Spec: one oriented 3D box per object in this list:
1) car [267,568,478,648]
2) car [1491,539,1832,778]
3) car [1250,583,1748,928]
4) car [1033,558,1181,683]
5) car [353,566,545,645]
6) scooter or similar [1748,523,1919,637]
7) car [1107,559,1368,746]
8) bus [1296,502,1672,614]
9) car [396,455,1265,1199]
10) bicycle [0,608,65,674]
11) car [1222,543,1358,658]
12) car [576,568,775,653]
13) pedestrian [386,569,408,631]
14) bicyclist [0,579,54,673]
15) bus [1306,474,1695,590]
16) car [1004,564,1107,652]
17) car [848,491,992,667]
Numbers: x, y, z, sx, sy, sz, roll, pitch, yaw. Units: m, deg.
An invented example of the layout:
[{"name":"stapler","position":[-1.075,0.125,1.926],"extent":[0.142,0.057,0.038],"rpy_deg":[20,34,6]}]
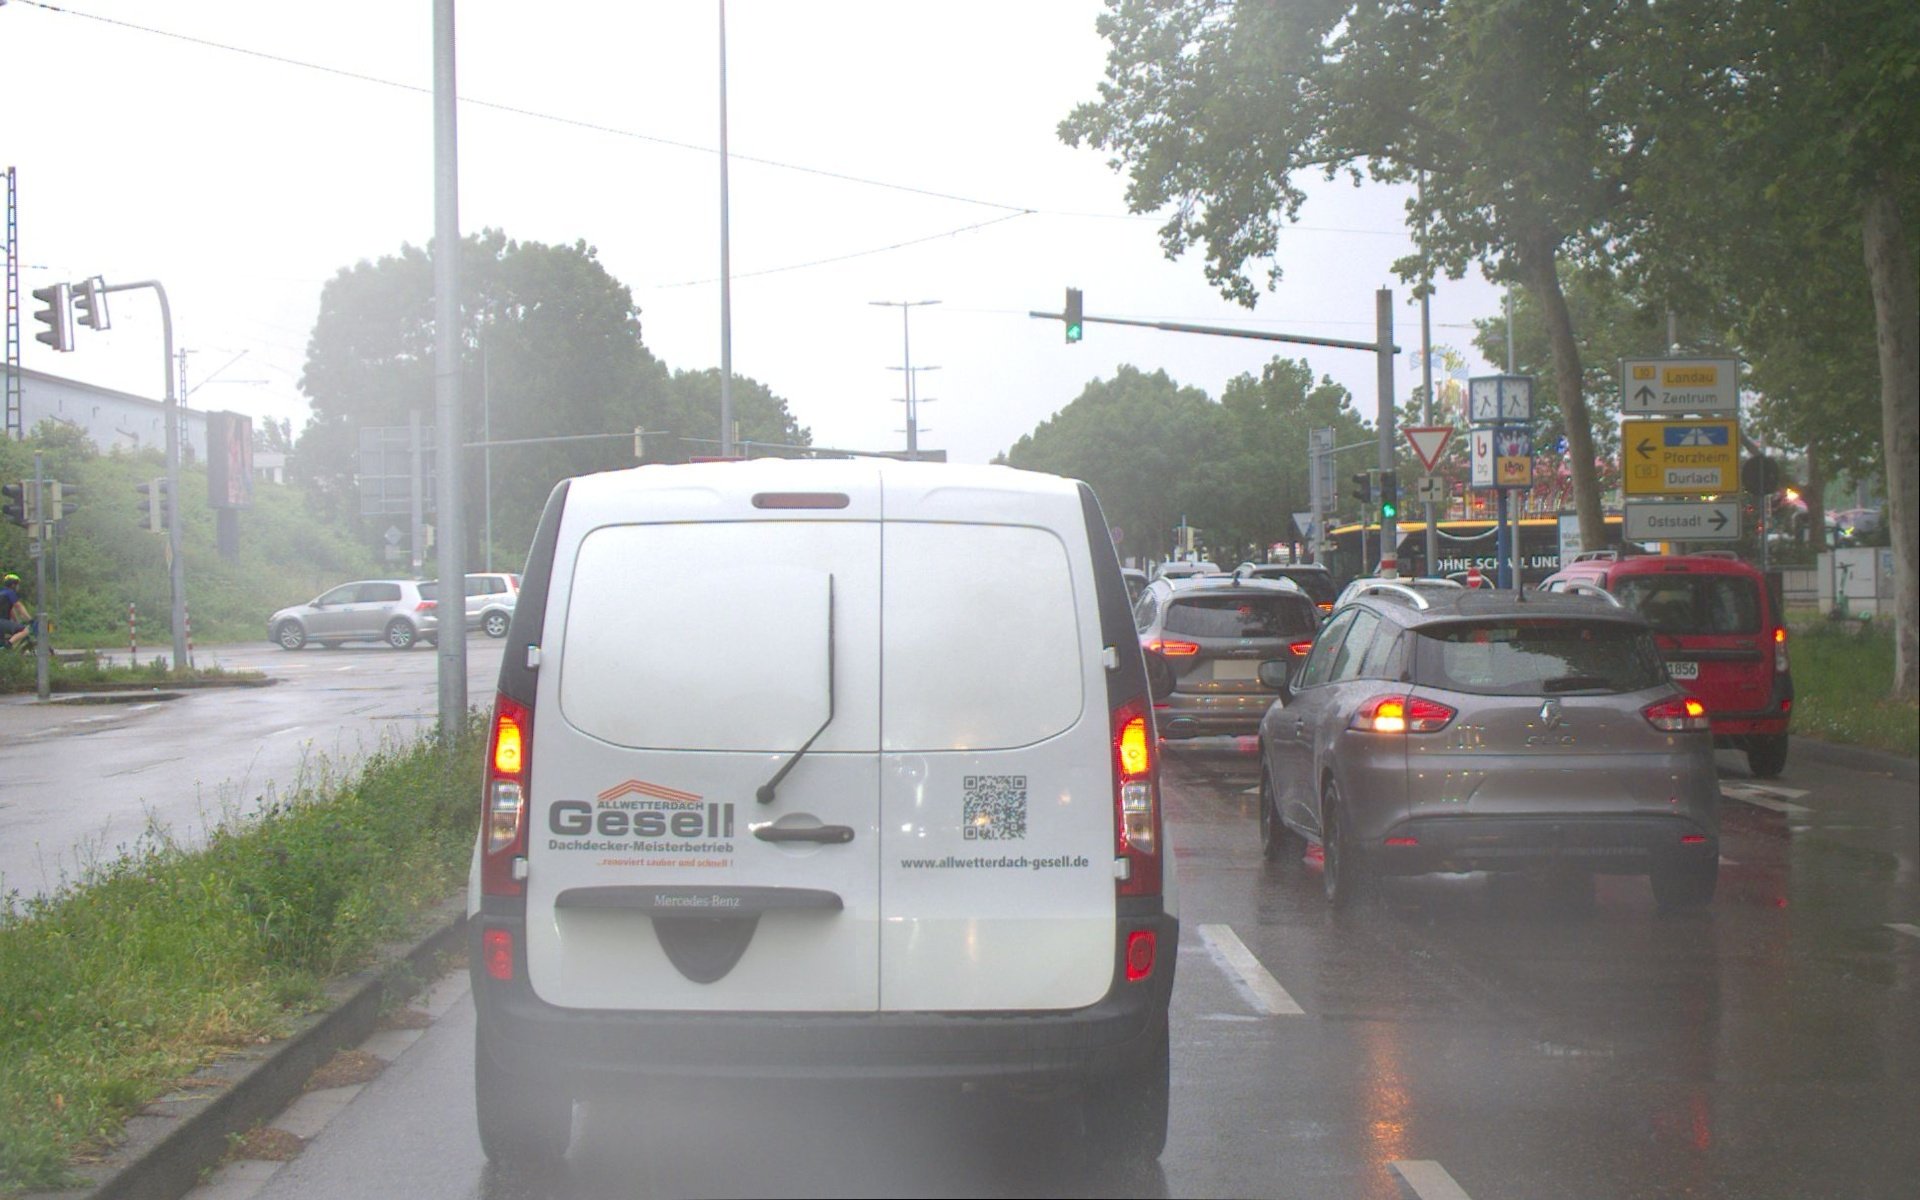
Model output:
[{"name":"car","position":[-12.243,0.169,71.696],"extent":[3.819,1.538,1.998],"rpy_deg":[-2,0,23]},{"name":"car","position":[5.346,0.422,26.710],"extent":[1.710,1.688,4.272],"rpy_deg":[1,0,-1]},{"name":"car","position":[2.445,0.649,16.479],"extent":[1.683,1.403,3.843],"rpy_deg":[1,1,-1]},{"name":"car","position":[1.993,0.244,47.578],"extent":[1.854,1.644,3.843],"rpy_deg":[0,1,-1]},{"name":"car","position":[-12.031,0.123,80.997],"extent":[3.989,1.711,1.999],"rpy_deg":[-2,0,12]},{"name":"scooter or similar","position":[20.128,-0.454,75.705],"extent":[1.890,2.437,5.316],"rpy_deg":[-1,1,-41]},{"name":"car","position":[2.273,0.392,29.077],"extent":[1.854,1.455,3.843],"rpy_deg":[0,1,-1]},{"name":"bus","position":[17.270,-1.401,113.514],"extent":[11.969,3.411,2.483],"rpy_deg":[-1,1,-3]},{"name":"car","position":[-0.318,0.520,10.199],"extent":[1.993,1.770,4.585],"rpy_deg":[0,1,-1]},{"name":"bicycle","position":[-14.903,0.638,54.177],"extent":[1.040,0.949,2.889],"rpy_deg":[-2,1,-25]},{"name":"car","position":[5.117,-0.016,53.725],"extent":[1.708,1.722,3.843],"rpy_deg":[0,1,-1]},{"name":"car","position":[-5.701,0.187,68.443],"extent":[1.795,1.645,4.190],"rpy_deg":[0,0,-42]},{"name":"pedestrian","position":[-15.521,-0.007,94.800],"extent":[0.543,1.710,0.563],"rpy_deg":[1,0,-4]},{"name":"bicyclist","position":[-14.867,0.400,54.098],"extent":[1.040,1.445,0.729],"rpy_deg":[-2,1,-25]},{"name":"bus","position":[17.153,-2.168,109.535],"extent":[11.970,3.411,2.315],"rpy_deg":[-1,1,0]},{"name":"car","position":[1.828,0.149,66.690],"extent":[1.854,1.644,3.843],"rpy_deg":[0,0,-1]},{"name":"car","position":[-0.538,-0.301,46.497],"extent":[1.854,2.288,3.843],"rpy_deg":[0,1,-1]}]
